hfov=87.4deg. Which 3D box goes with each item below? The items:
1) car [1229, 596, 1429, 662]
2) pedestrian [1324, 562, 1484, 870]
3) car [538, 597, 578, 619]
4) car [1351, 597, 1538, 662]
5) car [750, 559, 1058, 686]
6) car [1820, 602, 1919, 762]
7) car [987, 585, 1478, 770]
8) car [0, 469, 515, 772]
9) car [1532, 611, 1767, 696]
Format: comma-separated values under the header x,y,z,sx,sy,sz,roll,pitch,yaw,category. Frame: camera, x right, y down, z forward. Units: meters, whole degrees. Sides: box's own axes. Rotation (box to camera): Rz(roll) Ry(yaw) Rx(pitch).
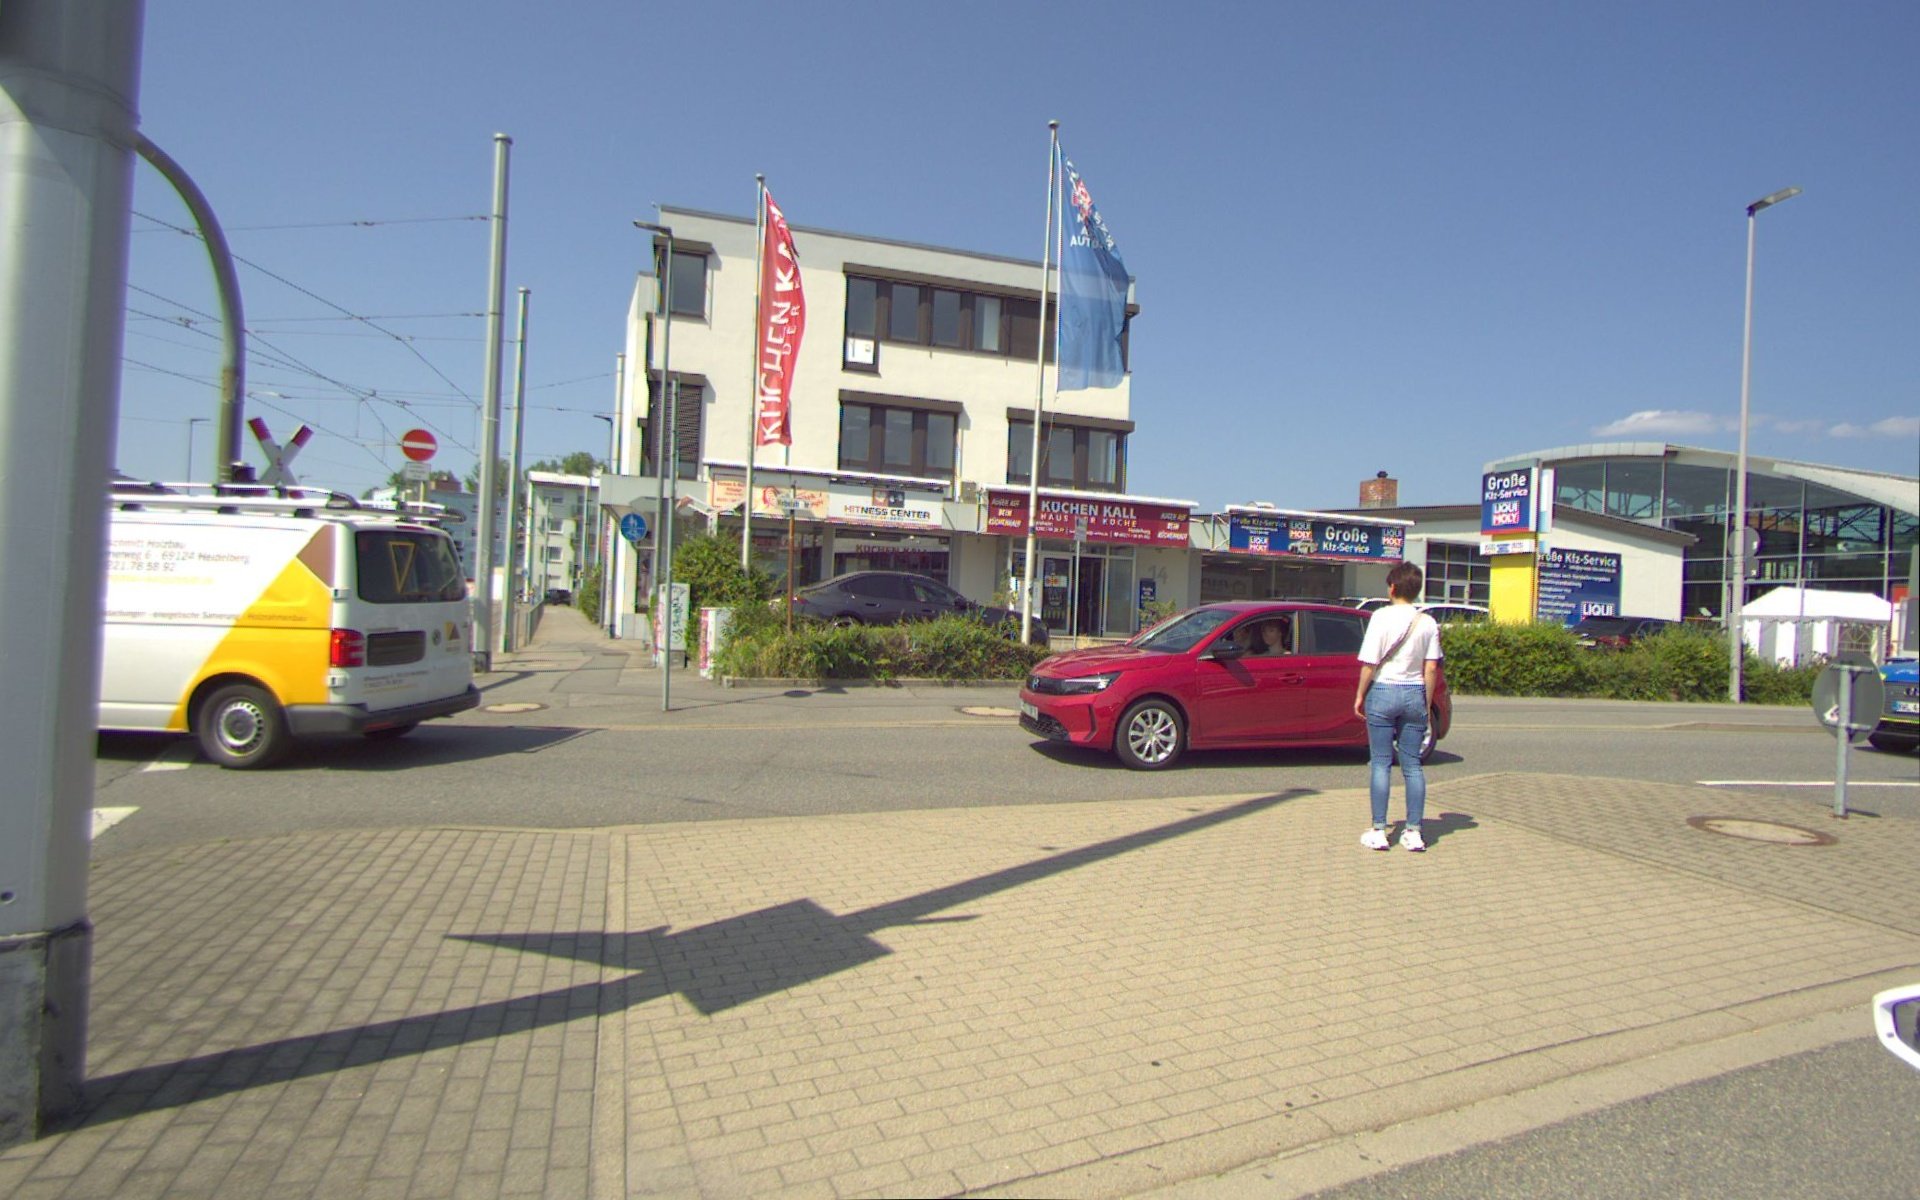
x,y,z,sx,sy,sz,roll,pitch,yaw,category
8.978,0.712,24.510,4.250,1.446,2.024,2,-1,-19,car
2.644,0.634,5.967,0.748,1.678,0.671,2,0,31,pedestrian
-38.775,0.773,96.869,3.940,2.040,1.991,-1,-2,40,car
13.674,0.865,28.363,4.851,1.609,1.879,2,-3,-19,car
-1.045,0.429,17.972,5.192,1.992,1.960,2,-1,-15,car
12.831,0.975,11.801,4.374,1.783,1.910,2,-1,-13,car
2.473,0.691,9.450,4.073,1.483,1.842,2,-1,-14,car
-6.625,0.117,8.433,4.835,2.143,2.028,2,0,2,car
14.458,1.111,21.133,3.933,1.639,1.994,2,-1,-15,car
